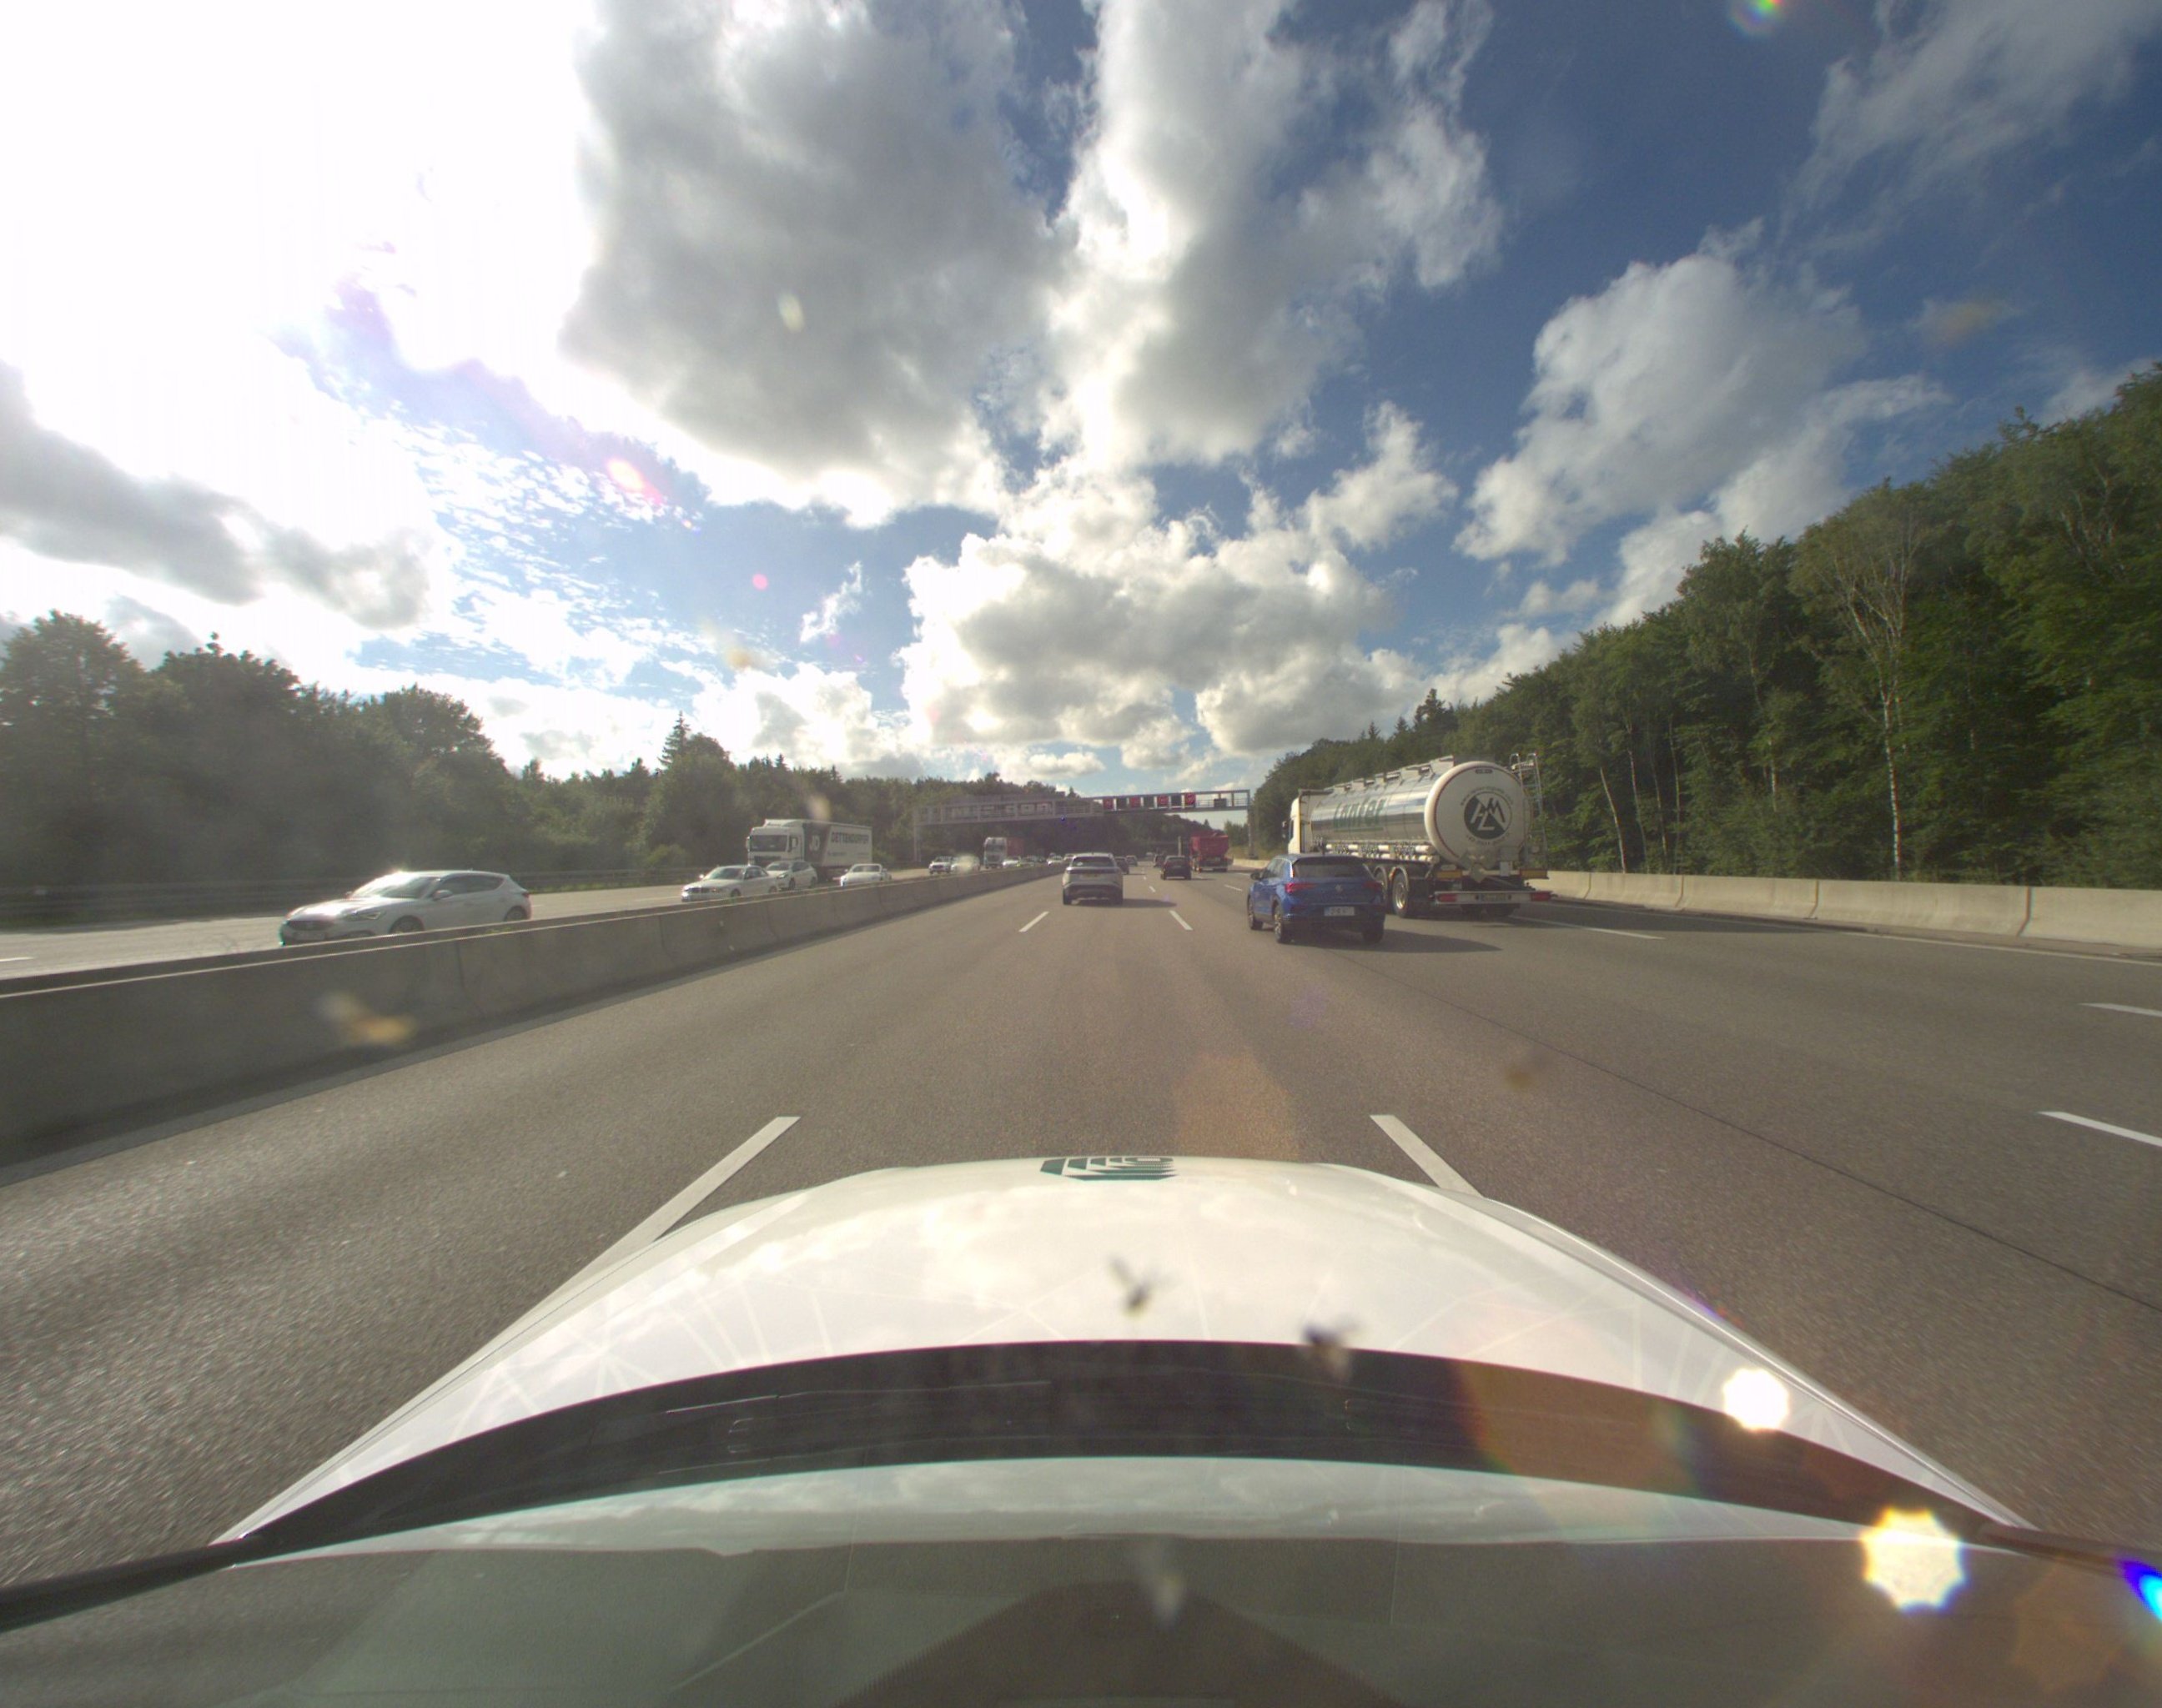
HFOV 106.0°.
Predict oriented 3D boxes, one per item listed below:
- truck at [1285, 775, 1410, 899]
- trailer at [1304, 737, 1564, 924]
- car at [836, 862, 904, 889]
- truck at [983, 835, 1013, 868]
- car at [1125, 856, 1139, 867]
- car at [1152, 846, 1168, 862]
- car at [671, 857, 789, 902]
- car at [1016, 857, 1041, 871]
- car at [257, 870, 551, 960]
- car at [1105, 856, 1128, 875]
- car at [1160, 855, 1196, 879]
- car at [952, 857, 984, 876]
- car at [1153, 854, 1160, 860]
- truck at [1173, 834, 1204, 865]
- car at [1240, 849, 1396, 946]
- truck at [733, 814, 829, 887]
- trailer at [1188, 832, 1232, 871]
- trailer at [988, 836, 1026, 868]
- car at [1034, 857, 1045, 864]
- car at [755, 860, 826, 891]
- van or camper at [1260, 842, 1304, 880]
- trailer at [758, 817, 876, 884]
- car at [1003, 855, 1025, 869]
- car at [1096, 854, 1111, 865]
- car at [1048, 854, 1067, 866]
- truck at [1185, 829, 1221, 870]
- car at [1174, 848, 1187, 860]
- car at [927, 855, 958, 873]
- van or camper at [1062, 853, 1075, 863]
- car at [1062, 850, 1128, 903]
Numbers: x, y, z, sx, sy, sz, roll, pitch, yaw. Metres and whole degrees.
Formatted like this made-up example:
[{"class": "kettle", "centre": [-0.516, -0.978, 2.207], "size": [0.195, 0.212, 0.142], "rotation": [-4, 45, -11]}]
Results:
[{"class": "truck", "centre": [9.171, -0.528, 28.738], "size": [2.638, 3.823, 6.087], "rotation": [-2, 0, 3]}, {"class": "trailer", "centre": [8.856, -0.479, 22.650], "size": [2.637, 3.767, 11.870], "rotation": [-2, 0, 3]}, {"class": "car", "centre": [-9.948, 0.980, 38.770], "size": [1.803, 1.161, 4.519], "rotation": [-1, 0, 3]}, {"class": "truck", "centre": [-10.668, -0.303, 104.807], "size": [2.726, 4.106, 5.773], "rotation": [-1, 0, 5]}, {"class": "car", "centre": [7.108, 1.028, 113.965], "size": [1.814, 1.457, 4.005], "rotation": [-1, -1, 5]}, {"class": "car", "centre": [9.519, 0.055, 97.801], "size": [1.884, 1.857, 4.107], "rotation": [0, 0, 6]}, {"class": "car", "centre": [-11.994, 0.825, 28.203], "size": [1.673, 1.397, 4.721], "rotation": [-1, 0, 5]}, {"class": "car", "centre": [-5.130, 0.954, 80.100], "size": [1.985, 1.362, 4.623], "rotation": [0, 0, 3]}, {"class": "car", "centre": [-12.788, 1.059, 15.894], "size": [1.763, 1.394, 4.691], "rotation": [-1, 0, 1]}, {"class": "car", "centre": [2.961, 0.918, 67.162], "size": [1.814, 1.546, 4.005], "rotation": [-1, 0, 4]}, {"class": "car", "centre": [6.094, 0.796, 51.580], "size": [1.816, 1.457, 4.001], "rotation": [-1, 0, 1]}, {"class": "car", "centre": [-9.762, 1.070, 70.534], "size": [1.700, 1.594, 4.949], "rotation": [-1, 0, 5]}, {"class": "car", "centre": [22.744, 0.920, 246.095], "size": [2.067, 1.457, 4.006], "rotation": [-2, 0, 5]}, {"class": "truck", "centre": [14.664, -0.552, 111.566], "size": [3.107, 3.935, 10.415], "rotation": [-1, 0, 2]}, {"class": "car", "centre": [4.236, 0.707, 15.292], "size": [1.766, 1.530, 4.460], "rotation": [-1, 0, 2]}, {"class": "truck", "centre": [-18.178, -0.190, 49.842], "size": [3.305, 4.106, 6.228], "rotation": [-1, 0, 2]}, {"class": "trailer", "centre": [11.238, -0.216, 71.818], "size": [2.699, 3.231, 9.739], "rotation": [-1, 0, 3]}, {"class": "trailer", "centre": [-10.017, -0.297, 112.185], "size": [2.726, 4.106, 13.435], "rotation": [-1, 0, 5]}, {"class": "car", "centre": [-8.608, 1.350, 169.406], "size": [1.693, 1.440, 4.714], "rotation": [-1, 0, 5]}, {"class": "car", "centre": [-14.876, 1.074, 41.995], "size": [1.804, 1.453, 4.803], "rotation": [-1, 0, 2]}, {"class": "van or camper", "centre": [12.695, 0.425, 51.771], "size": [1.814, 2.307, 4.943], "rotation": [-1, 0, 4]}, {"class": "trailer", "centre": [-17.988, -0.206, 57.061], "size": [3.305, 4.106, 14.159], "rotation": [-1, 0, 2]}, {"class": "car", "centre": [-7.836, 0.935, 95.193], "size": [1.849, 1.525, 4.999], "rotation": [-1, 0, 3]}, {"class": "car", "centre": [3.214, 0.800, 115.474], "size": [1.934, 1.457, 4.002], "rotation": [-2, 0, 2]}, {"class": "car", "centre": [-3.032, 0.779, 105.569], "size": [1.761, 1.442, 4.859], "rotation": [-1, 0, 6]}, {"class": "truck", "centre": [11.453, -0.440, 76.696], "size": [2.699, 3.718, 5.821], "rotation": [-1, 0, 2]}, {"class": "car", "centre": [15.175, 0.038, 124.404], "size": [1.884, 1.857, 4.107], "rotation": [0, 0, 6]}, {"class": "car", "centre": [-13.195, 0.923, 78.053], "size": [1.786, 1.617, 5.049], "rotation": [-1, 0, 3]}, {"class": "van or camper", "centre": [-2.197, 0.700, 149.811], "size": [1.853, 1.850, 5.162], "rotation": [-1, 0, 5]}, {"class": "car", "centre": [0.536, 0.693, 27.577], "size": [1.998, 1.616, 5.303], "rotation": [-1, 0, 2]}]
